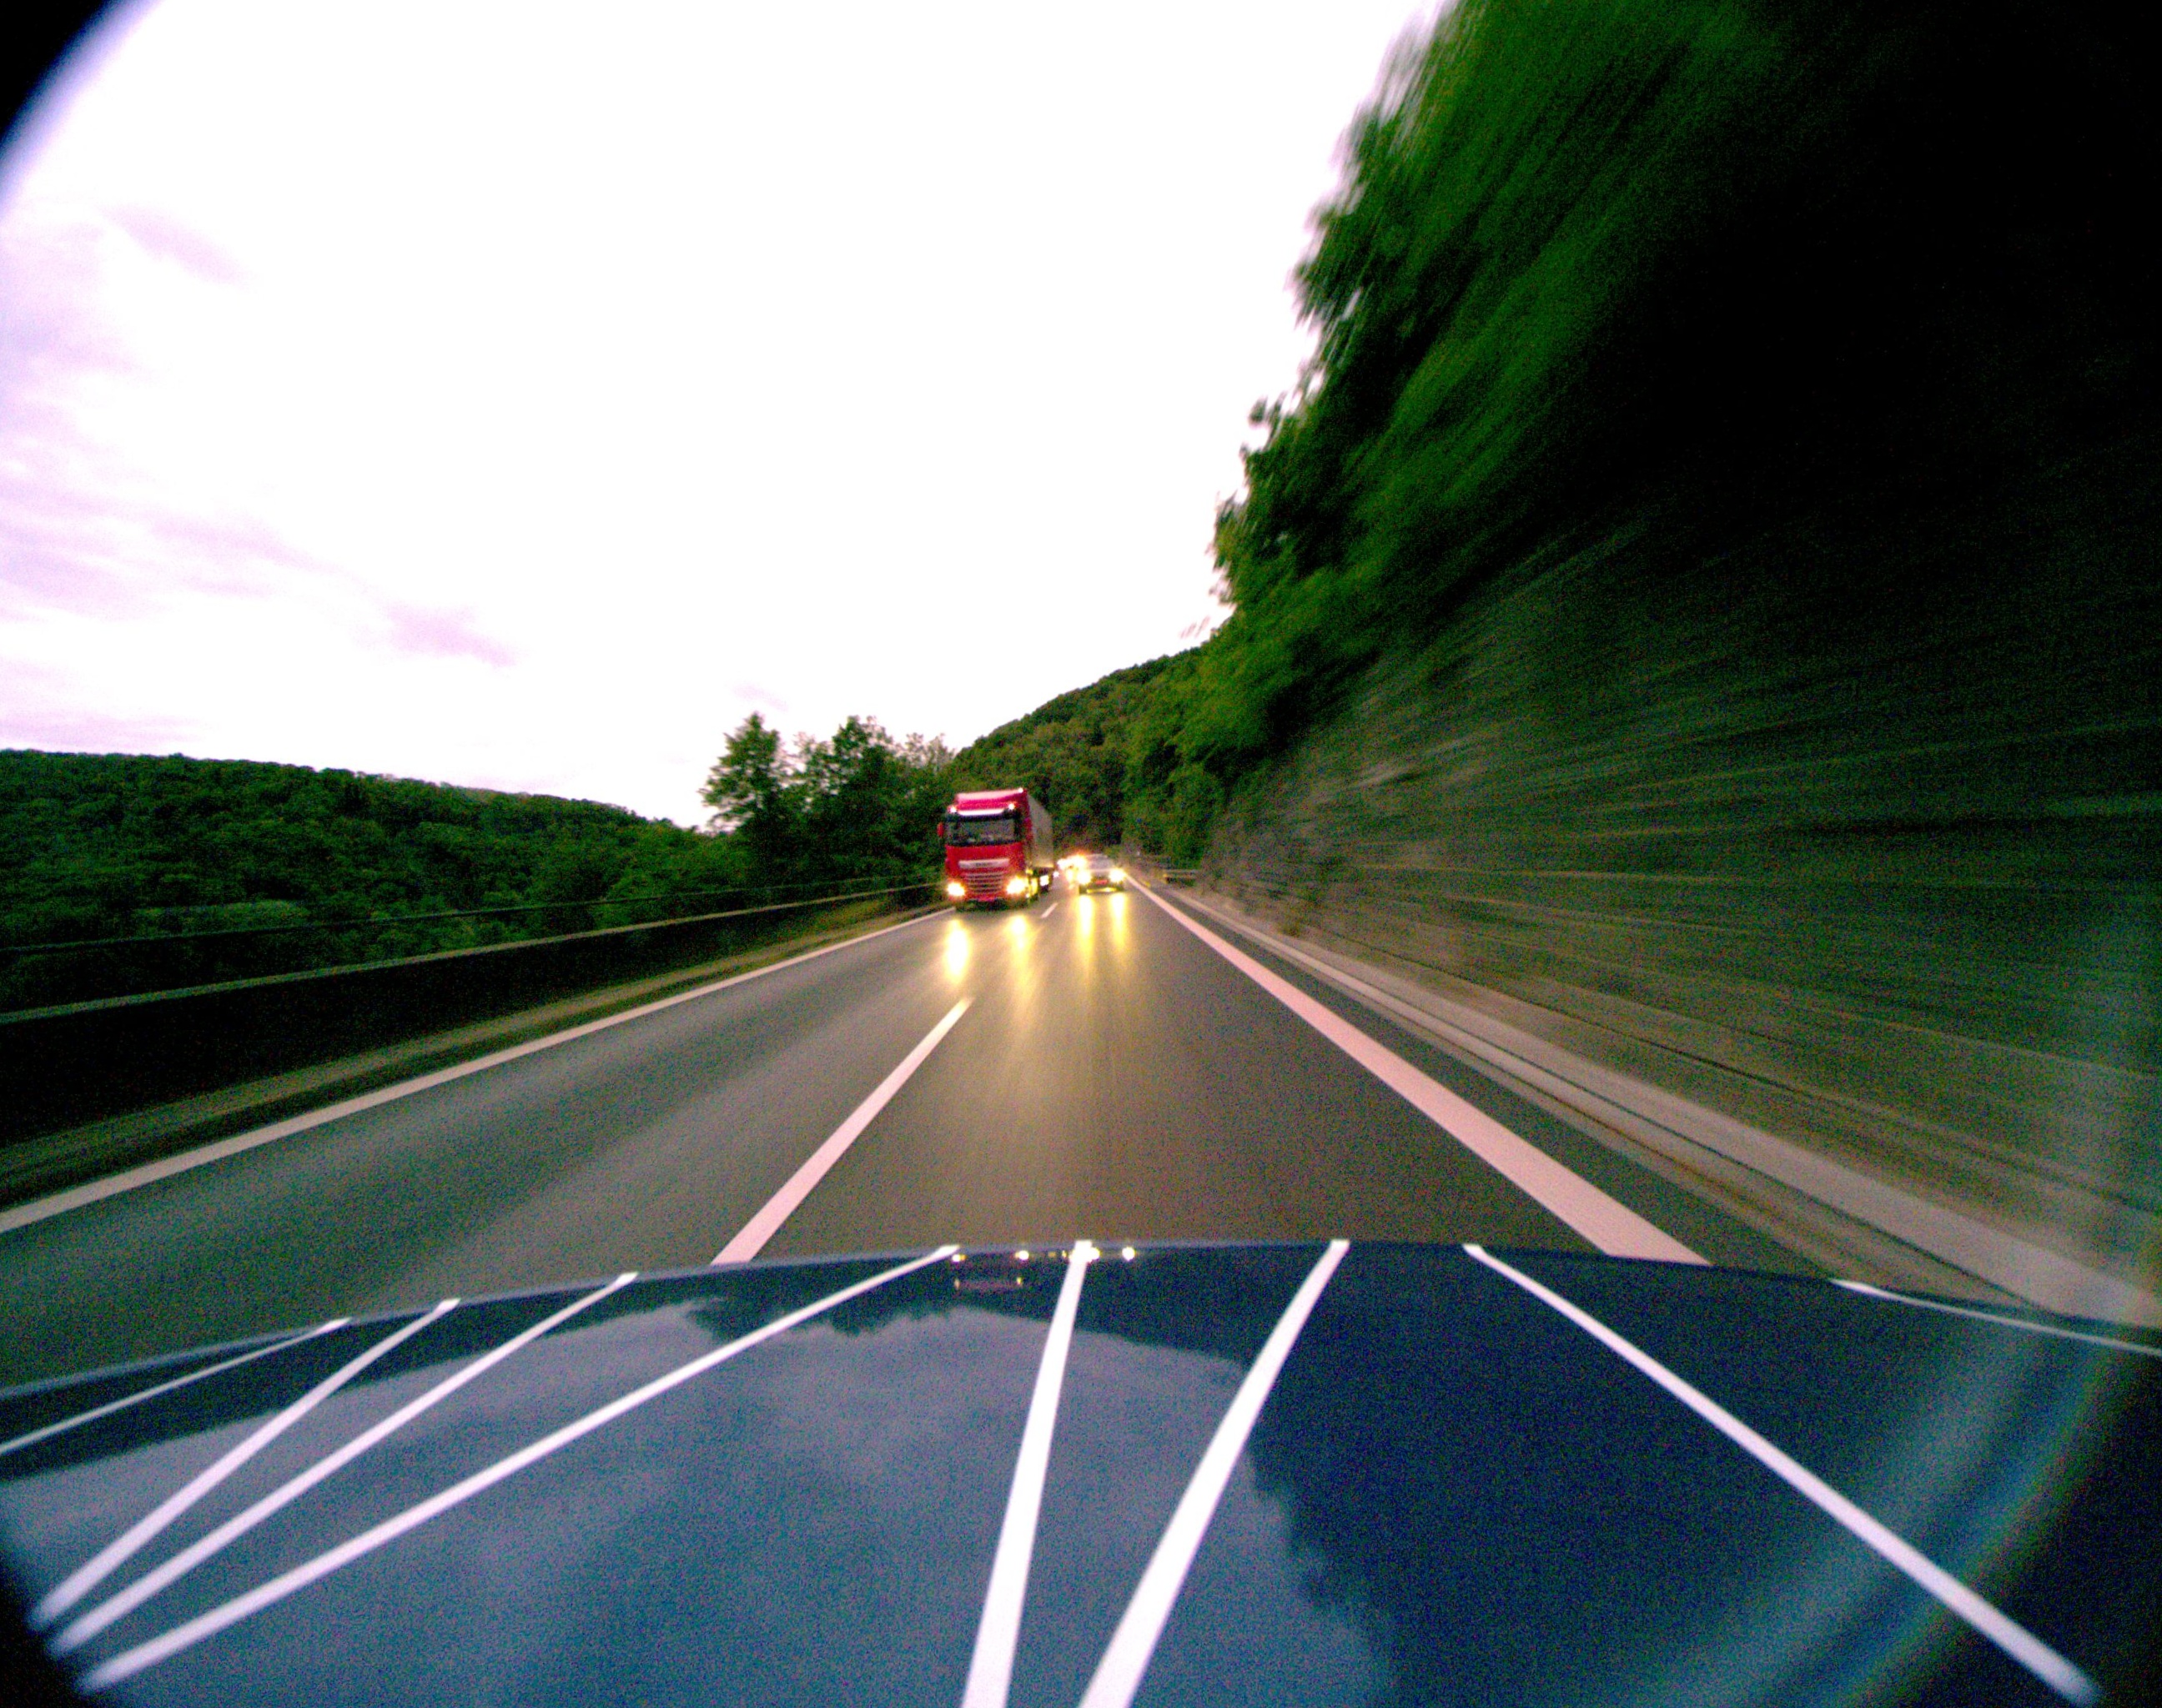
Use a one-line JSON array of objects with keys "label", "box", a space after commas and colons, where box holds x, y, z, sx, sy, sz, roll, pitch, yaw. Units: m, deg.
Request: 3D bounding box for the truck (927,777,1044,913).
[{"label": "truck", "box": [-3.121, -0.299, 26.897, 3.077, 4.120, 6.447, -2, 0, 1]}]

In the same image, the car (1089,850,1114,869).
[{"label": "car", "box": [1.743, 0.436, 64.814, 1.998, 1.499, 4.001, -2, 0, 1]}]

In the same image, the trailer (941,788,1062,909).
[{"label": "trailer", "box": [-2.924, -0.171, 33.340, 3.104, 3.946, 14.219, -4, 0, 2]}]

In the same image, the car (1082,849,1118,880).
[{"label": "car", "box": [1.206, 0.597, 47.547, 1.998, 1.630, 4.000, -6, 0, 2]}]

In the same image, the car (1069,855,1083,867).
[{"label": "car", "box": [-0.682, 1.068, 115.539, 1.998, 1.761, 4.000, -1, 0, 1]}]

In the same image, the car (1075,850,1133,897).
[{"label": "car", "box": [1.006, 0.741, 30.977, 1.998, 1.499, 4.001, -6, 1, 5]}]
